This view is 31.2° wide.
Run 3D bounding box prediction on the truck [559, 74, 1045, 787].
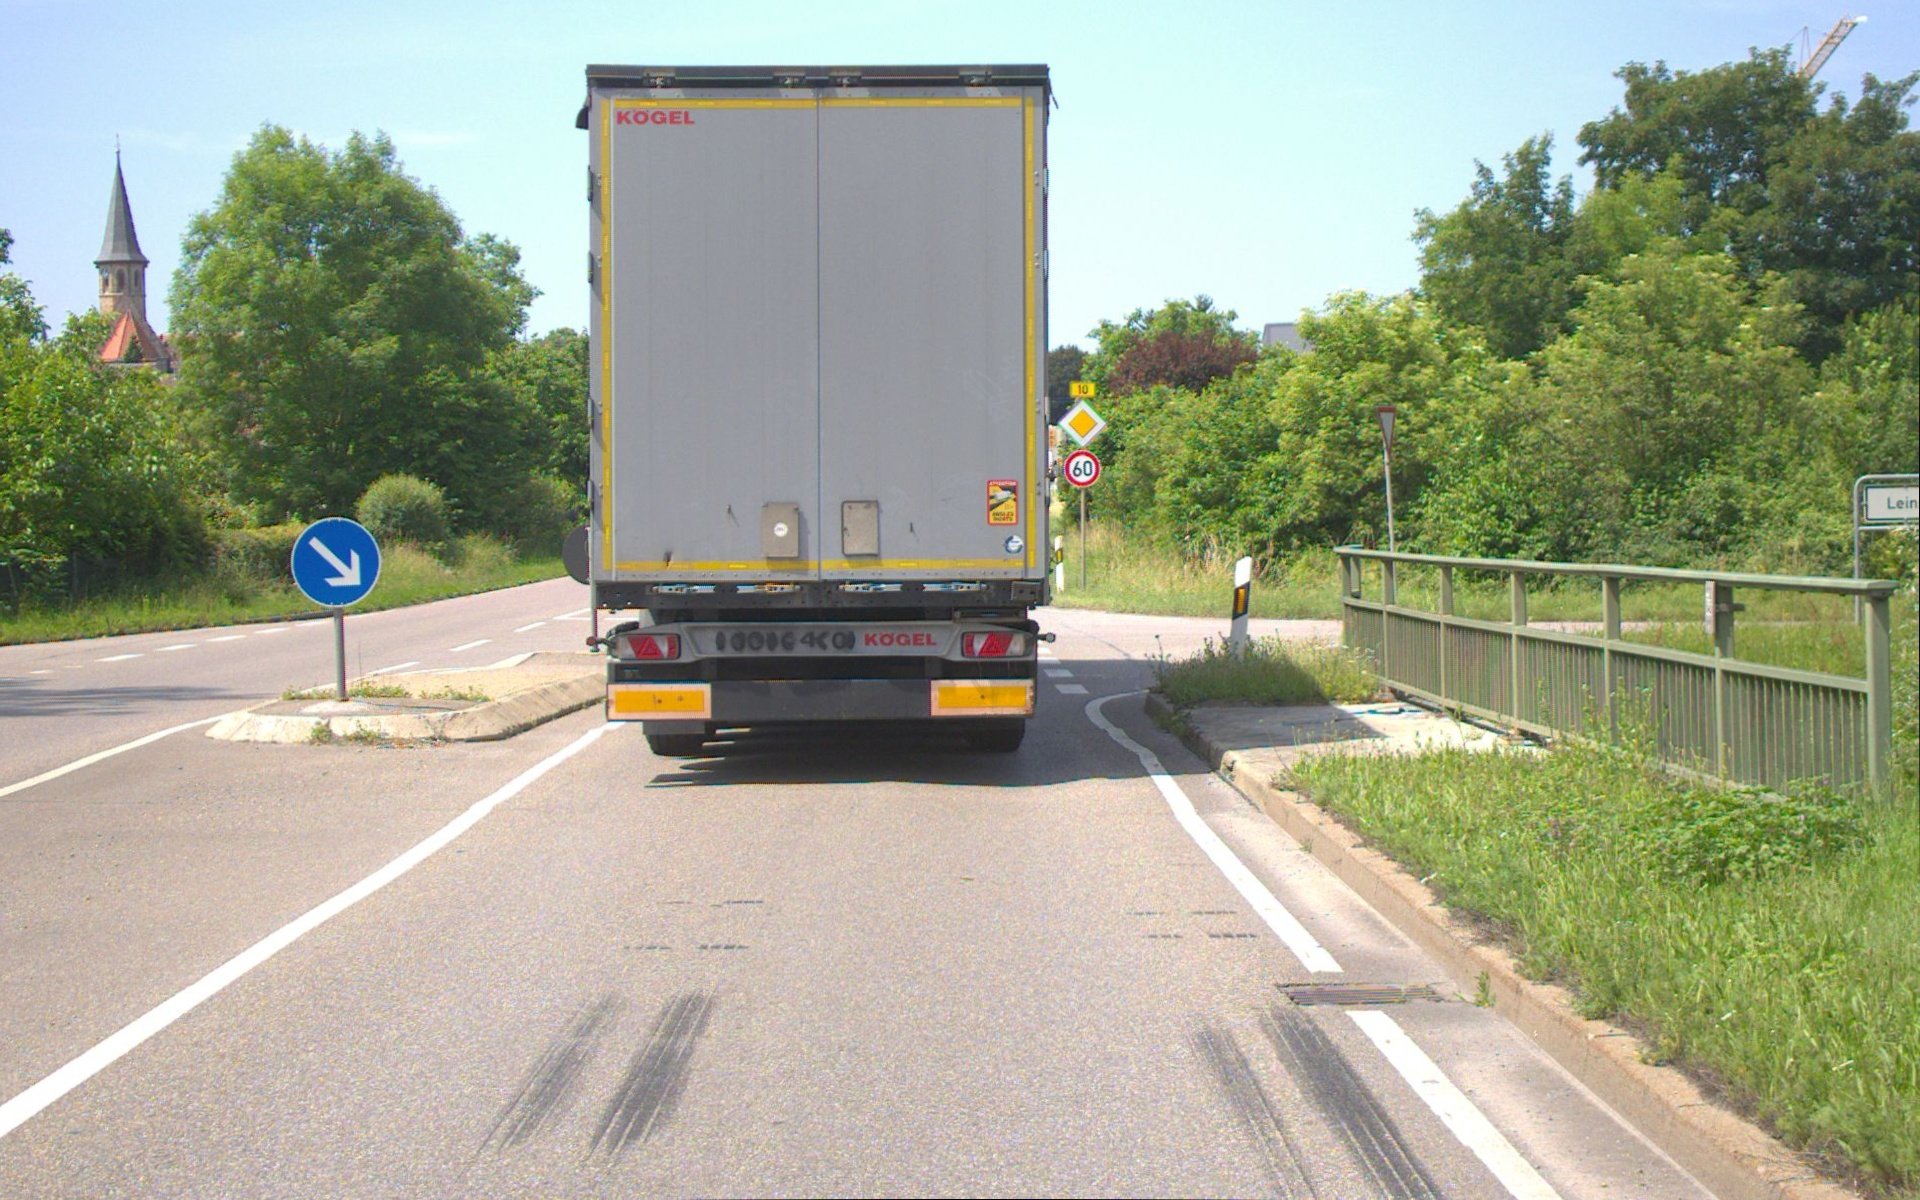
[{"bbox_3d":[-1.034,-1.073,23.293,2.647,3.903,8.826,0,2,-2],"label":"truck"}]
